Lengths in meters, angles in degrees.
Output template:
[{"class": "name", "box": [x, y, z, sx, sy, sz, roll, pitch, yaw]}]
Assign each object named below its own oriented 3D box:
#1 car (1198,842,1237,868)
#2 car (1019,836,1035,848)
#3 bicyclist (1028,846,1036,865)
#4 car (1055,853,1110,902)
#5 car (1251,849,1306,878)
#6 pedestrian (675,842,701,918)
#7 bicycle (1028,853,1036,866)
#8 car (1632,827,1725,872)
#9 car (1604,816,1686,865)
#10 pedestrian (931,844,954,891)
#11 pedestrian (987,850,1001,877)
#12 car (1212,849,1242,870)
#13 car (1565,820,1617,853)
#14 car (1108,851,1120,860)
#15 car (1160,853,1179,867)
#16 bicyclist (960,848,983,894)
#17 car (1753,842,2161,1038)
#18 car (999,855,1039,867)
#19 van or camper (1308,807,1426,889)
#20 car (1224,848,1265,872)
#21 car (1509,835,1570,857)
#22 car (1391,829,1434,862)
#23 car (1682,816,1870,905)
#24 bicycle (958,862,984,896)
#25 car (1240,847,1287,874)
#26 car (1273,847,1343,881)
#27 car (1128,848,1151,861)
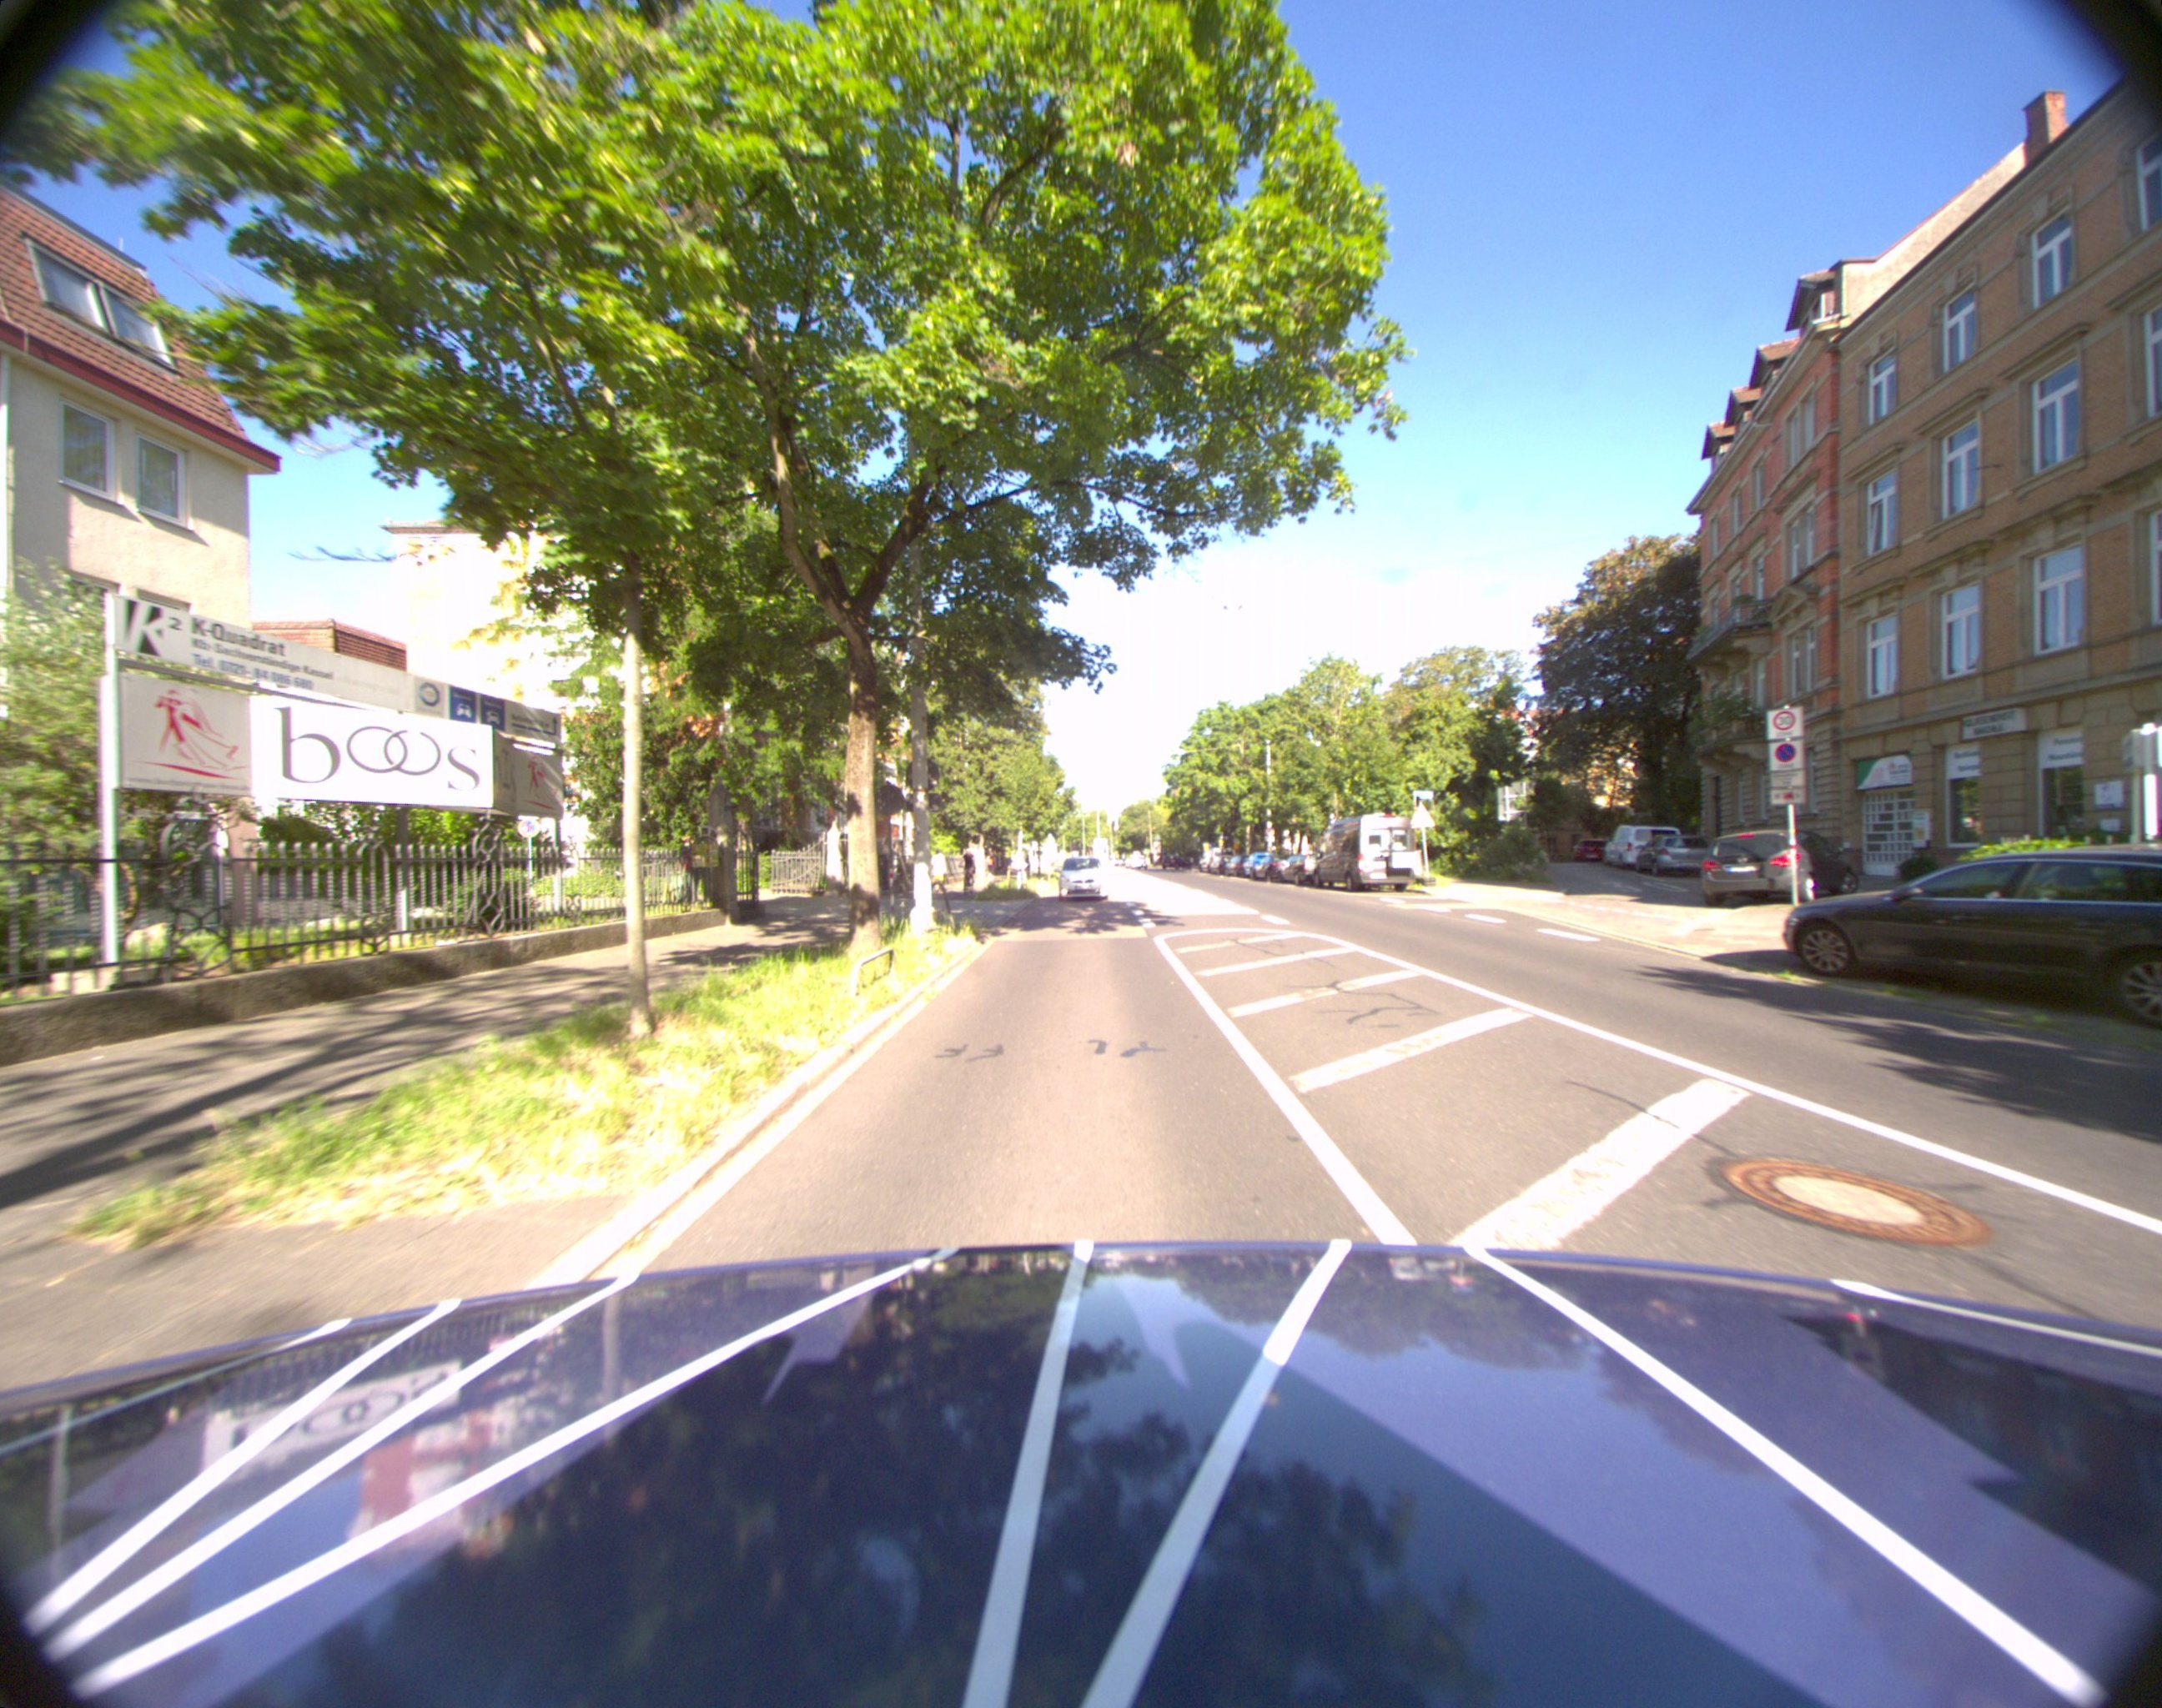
[{"class": "car", "box": [11.043, 0.083, 61.785, 1.989, 2.024, 4.873, 1, 0, -3]}, {"class": "car", "box": [-6.918, -1.512, 97.740, 1.847, 1.432, 4.104, 2, 0, -3]}, {"class": "bicyclist", "box": [-4.429, 0.140, 68.735, 0.622, 1.680, 0.820, 2, 0, -3]}, {"class": "car", "box": [0.128, 0.742, 26.124, 1.652, 1.449, 3.897, -4, 0, 2]}, {"class": "car", "box": [10.281, 0.449, 39.861, 1.785, 1.405, 4.405, 1, 0, 0]}, {"class": "pedestrian", "box": [-9.331, 0.607, 18.055, 0.533, 1.768, 0.541, 0, 1, -26]}, {"class": "bicycle", "box": [-4.446, 0.506, 68.735, 0.617, 1.169, 1.918, 2, 0, -3]}, {"class": "car", "box": [21.598, -0.212, 27.623, 1.860, 1.504, 3.535, 1, 2, 25]}, {"class": "car", "box": [23.678, -0.596, 32.064, 1.860, 1.903, 4.458, 1, 2, 25]}, {"class": "pedestrian", "box": [-5.404, 0.522, 29.640, 0.750, 1.777, 0.810, 2, 1, -4]}, {"class": "pedestrian", "box": [-5.435, 0.582, 47.415, 0.696, 1.649, 0.820, 2, 1, 0]}, {"class": "car", "box": [10.855, 0.390, 56.652, 1.467, 1.493, 3.958, 0, 1, 1]}, {"class": "car", "box": [30.432, -1.063, 45.470, 1.860, 1.903, 4.458, 1, 2, 25]}, {"class": "car", "box": [5.932, 0.261, 136.371, 1.843, 1.482, 3.779, 0, 0, -3]}, {"class": "car", "box": [9.447, 0.613, 81.101, 1.596, 1.441, 4.133, -1, 0, 1]}, {"class": "bicyclist", "box": [-4.105, 0.639, 28.561, 0.647, 1.685, 0.889, 2, 0, 1]}, {"class": "car", "box": [9.443, 0.668, 7.262, 1.860, 1.419, 4.720, -5, 0, 1]}, {"class": "car", "box": [-7.088, 0.790, 86.971, 4.417, 1.409, 2.047, 0, 0, 2]}, {"class": "van or camper", "box": [10.603, -0.204, 28.806, 2.222, 2.723, 6.088, -1, 0, 0]}, {"class": "car", "box": [10.752, 0.392, 50.101, 1.594, 1.474, 4.270, 0, 1, -3]}, {"class": "car", "box": [41.066, -0.707, 68.193, 4.440, 1.903, 1.868, 1, 2, 23]}, {"class": "car", "box": [19.860, -0.565, 45.676, 1.861, 1.903, 4.456, 1, 2, 18]}, {"class": "car", "box": [15.572, 0.120, 16.987, 4.150, 1.660, 1.996, -4, -1, -32]}, {"class": "bicycle", "box": [-4.114, 0.918, 28.572, 0.654, 1.169, 1.843, 2, 0, 0]}, {"class": "car", "box": [10.840, 0.347, 45.406, 1.784, 1.529, 4.558, -1, 1, 2]}, {"class": "car", "box": [10.276, 0.433, 34.737, 1.698, 1.448, 4.663, 1, 0, -1]}, {"class": "car", "box": [6.310, 0.035, 82.460, 1.923, 1.411, 4.224, -1, 0, -2]}]
